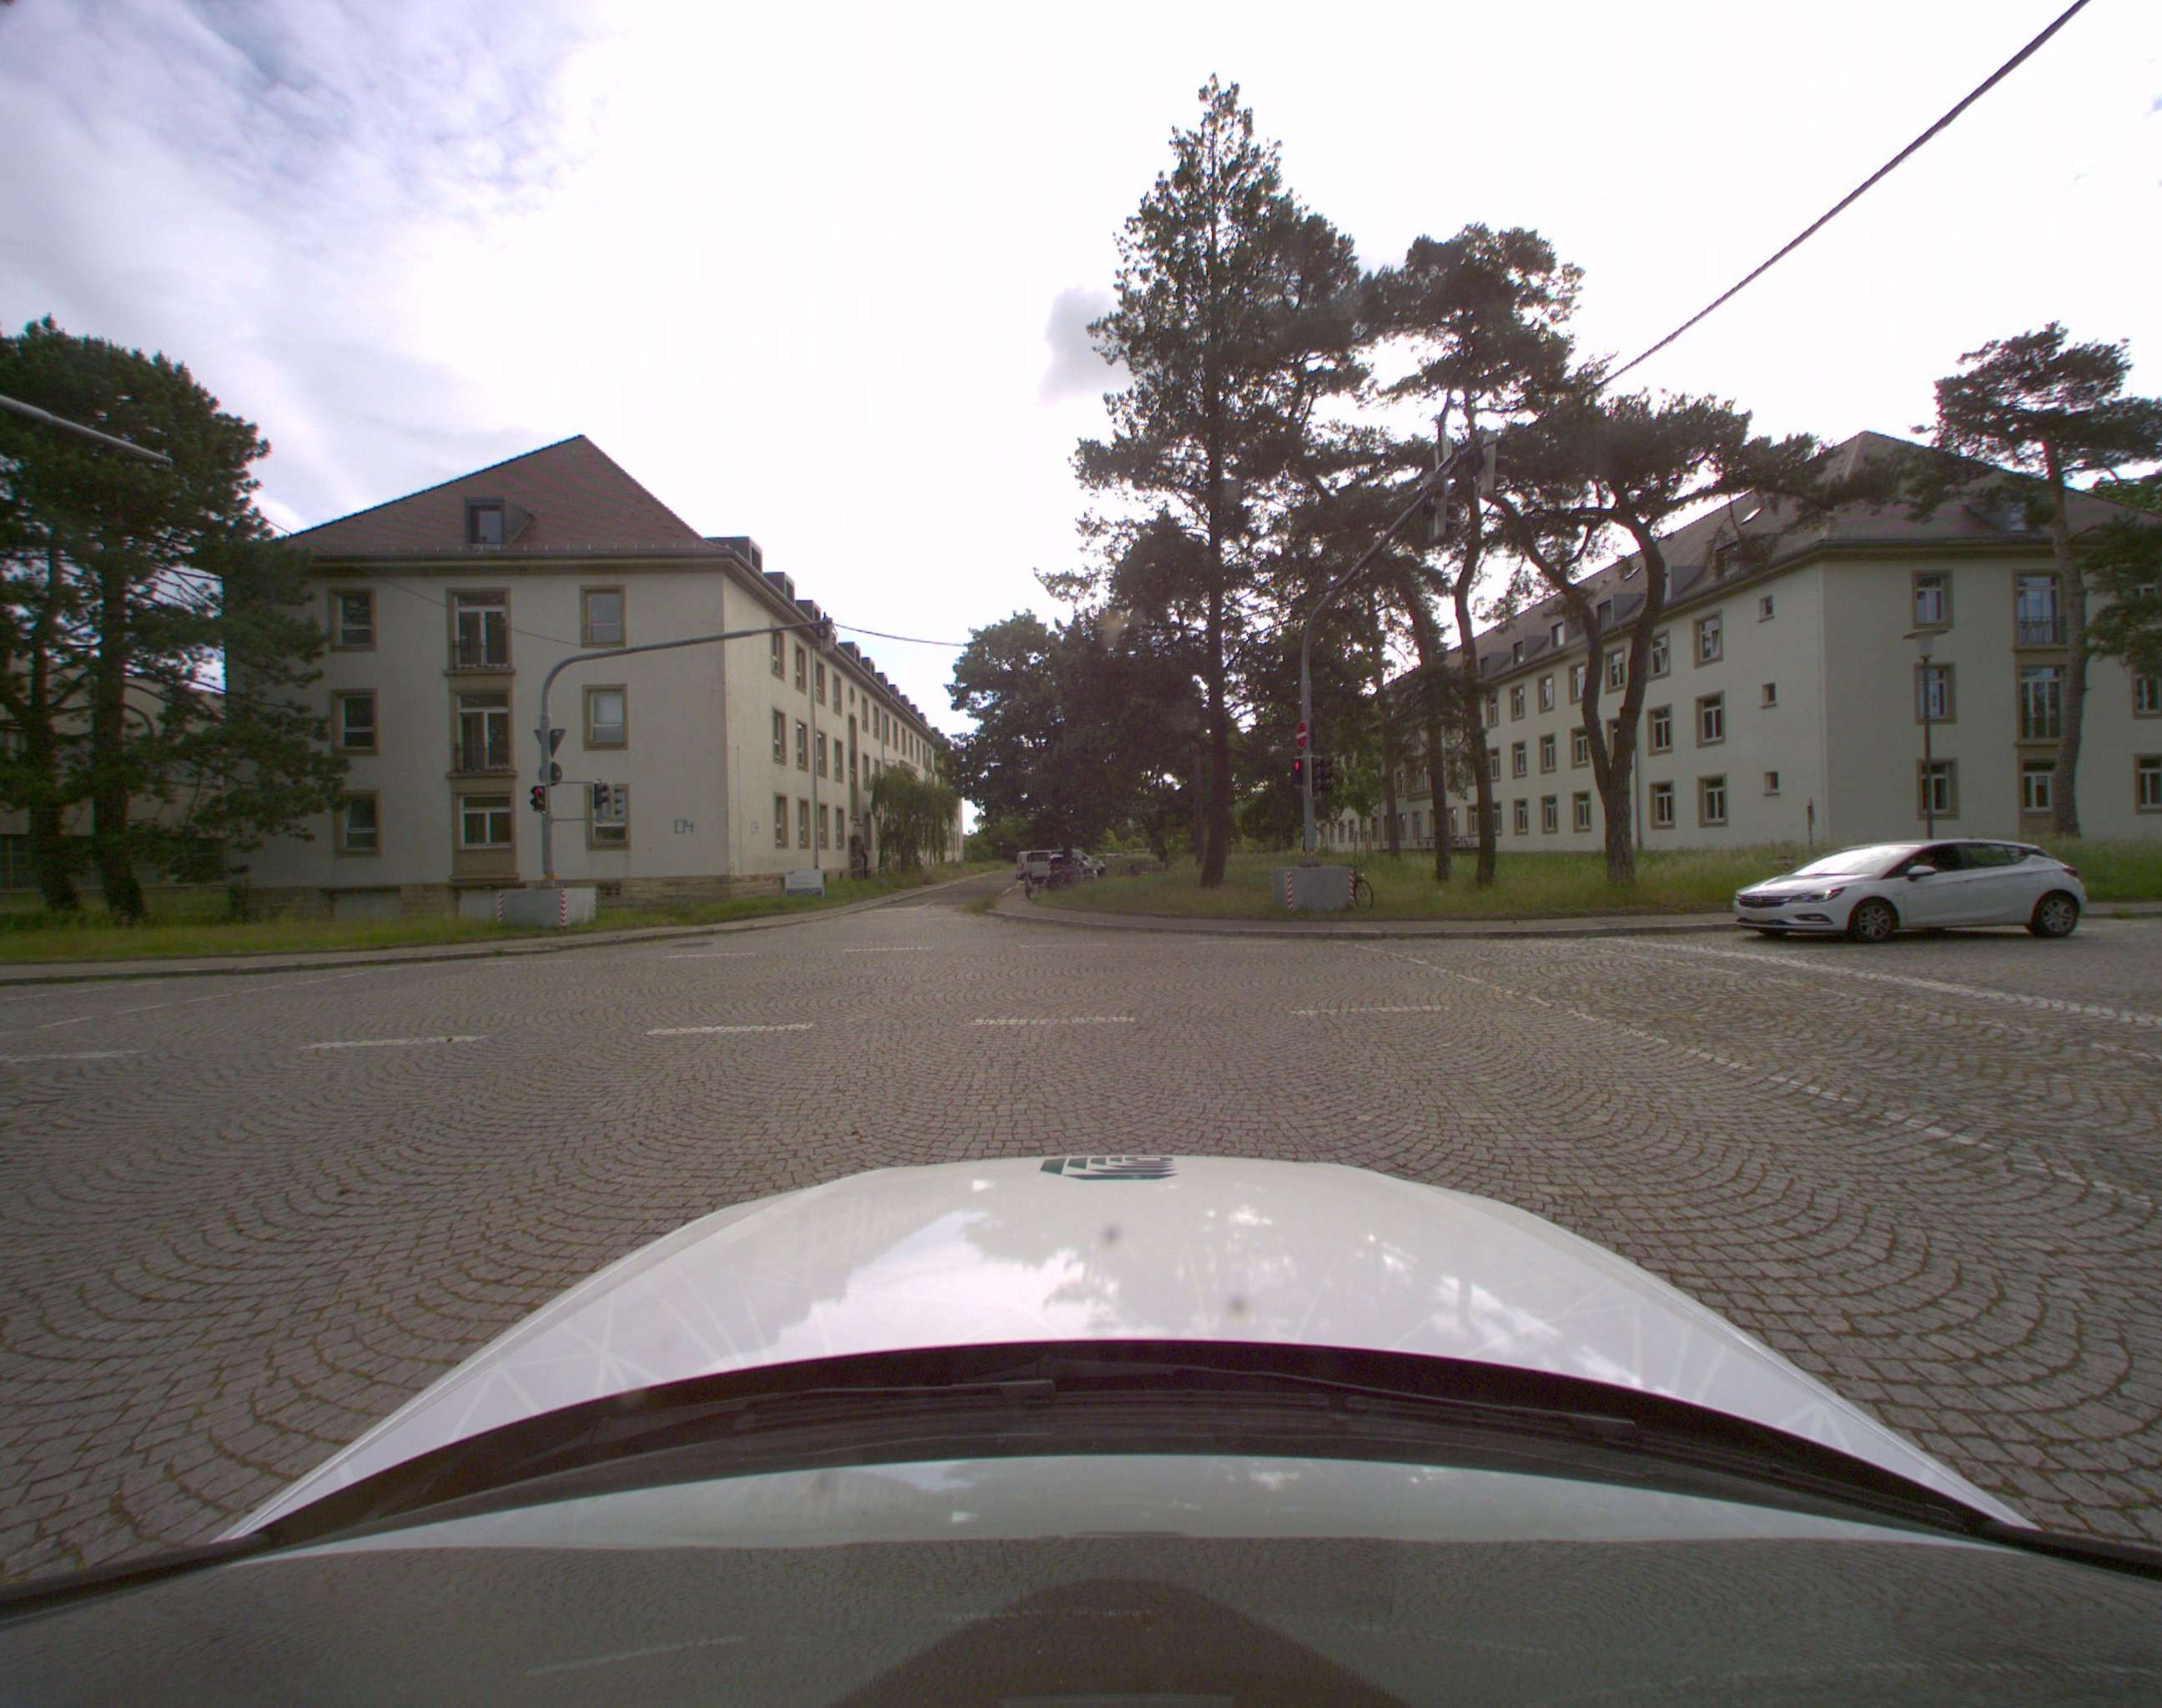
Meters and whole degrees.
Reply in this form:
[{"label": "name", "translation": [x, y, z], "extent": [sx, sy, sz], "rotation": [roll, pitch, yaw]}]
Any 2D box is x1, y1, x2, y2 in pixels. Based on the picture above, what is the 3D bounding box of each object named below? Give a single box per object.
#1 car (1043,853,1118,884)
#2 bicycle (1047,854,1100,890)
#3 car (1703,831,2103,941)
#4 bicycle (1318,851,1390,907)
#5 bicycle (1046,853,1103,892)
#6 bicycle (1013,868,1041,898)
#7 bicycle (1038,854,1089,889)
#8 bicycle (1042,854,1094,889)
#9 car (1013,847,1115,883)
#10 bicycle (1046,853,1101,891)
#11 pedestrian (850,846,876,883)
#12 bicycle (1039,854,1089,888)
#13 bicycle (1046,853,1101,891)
[{"label": "car", "translation": [-0.065, 0.761, 44.866], "extent": [3.927, 1.544, 1.996], "rotation": [-2, 0, -6]}, {"label": "bicycle", "translation": [-0.302, 0.703, 32.433], "extent": [2.063, 1.378, 0.620], "rotation": [-2, 0, -1]}, {"label": "car", "translation": [12.316, 0.468, 12.422], "extent": [4.232, 1.416, 1.886], "rotation": [-2, -2, -2]}, {"label": "bicycle", "translation": [6.069, 0.531, 18.247], "extent": [0.906, 1.177, 1.873], "rotation": [-2, 0, -2]}, {"label": "bicycle", "translation": [-0.224, 0.688, 30.343], "extent": [2.063, 1.378, 0.620], "rotation": [-2, 0, -1]}, {"label": "bicycle", "translation": [-1.875, 1.005, 28.500], "extent": [0.615, 0.963, 2.080], "rotation": [-2, 0, 6]}, {"label": "bicycle", "translation": [-0.708, 0.712, 33.958], "extent": [2.063, 1.378, 0.620], "rotation": [-2, 0, -1]}, {"label": "bicycle", "translation": [-0.543, 0.706, 33.225], "extent": [2.063, 1.378, 0.620], "rotation": [-2, 0, -1]}, {"label": "car", "translation": [-1.022, 0.641, 48.210], "extent": [5.699, 1.910, 2.220], "rotation": [-2, 0, -14]}, {"label": "bicycle", "translation": [-0.296, 0.697, 31.637], "extent": [2.063, 1.378, 0.620], "rotation": [-2, 0, -1]}, {"label": "pedestrian", "translation": [-12.154, 0.596, 45.441], "extent": [1.082, 2.013, 1.023], "rotation": [-2, 0, 4]}, {"label": "bicycle", "translation": [-0.708, 0.719, 34.706], "extent": [2.063, 1.378, 0.620], "rotation": [-2, 0, -1]}, {"label": "bicycle", "translation": [-0.281, 0.692, 31.012], "extent": [2.063, 1.378, 0.620], "rotation": [-2, 0, -1]}]
